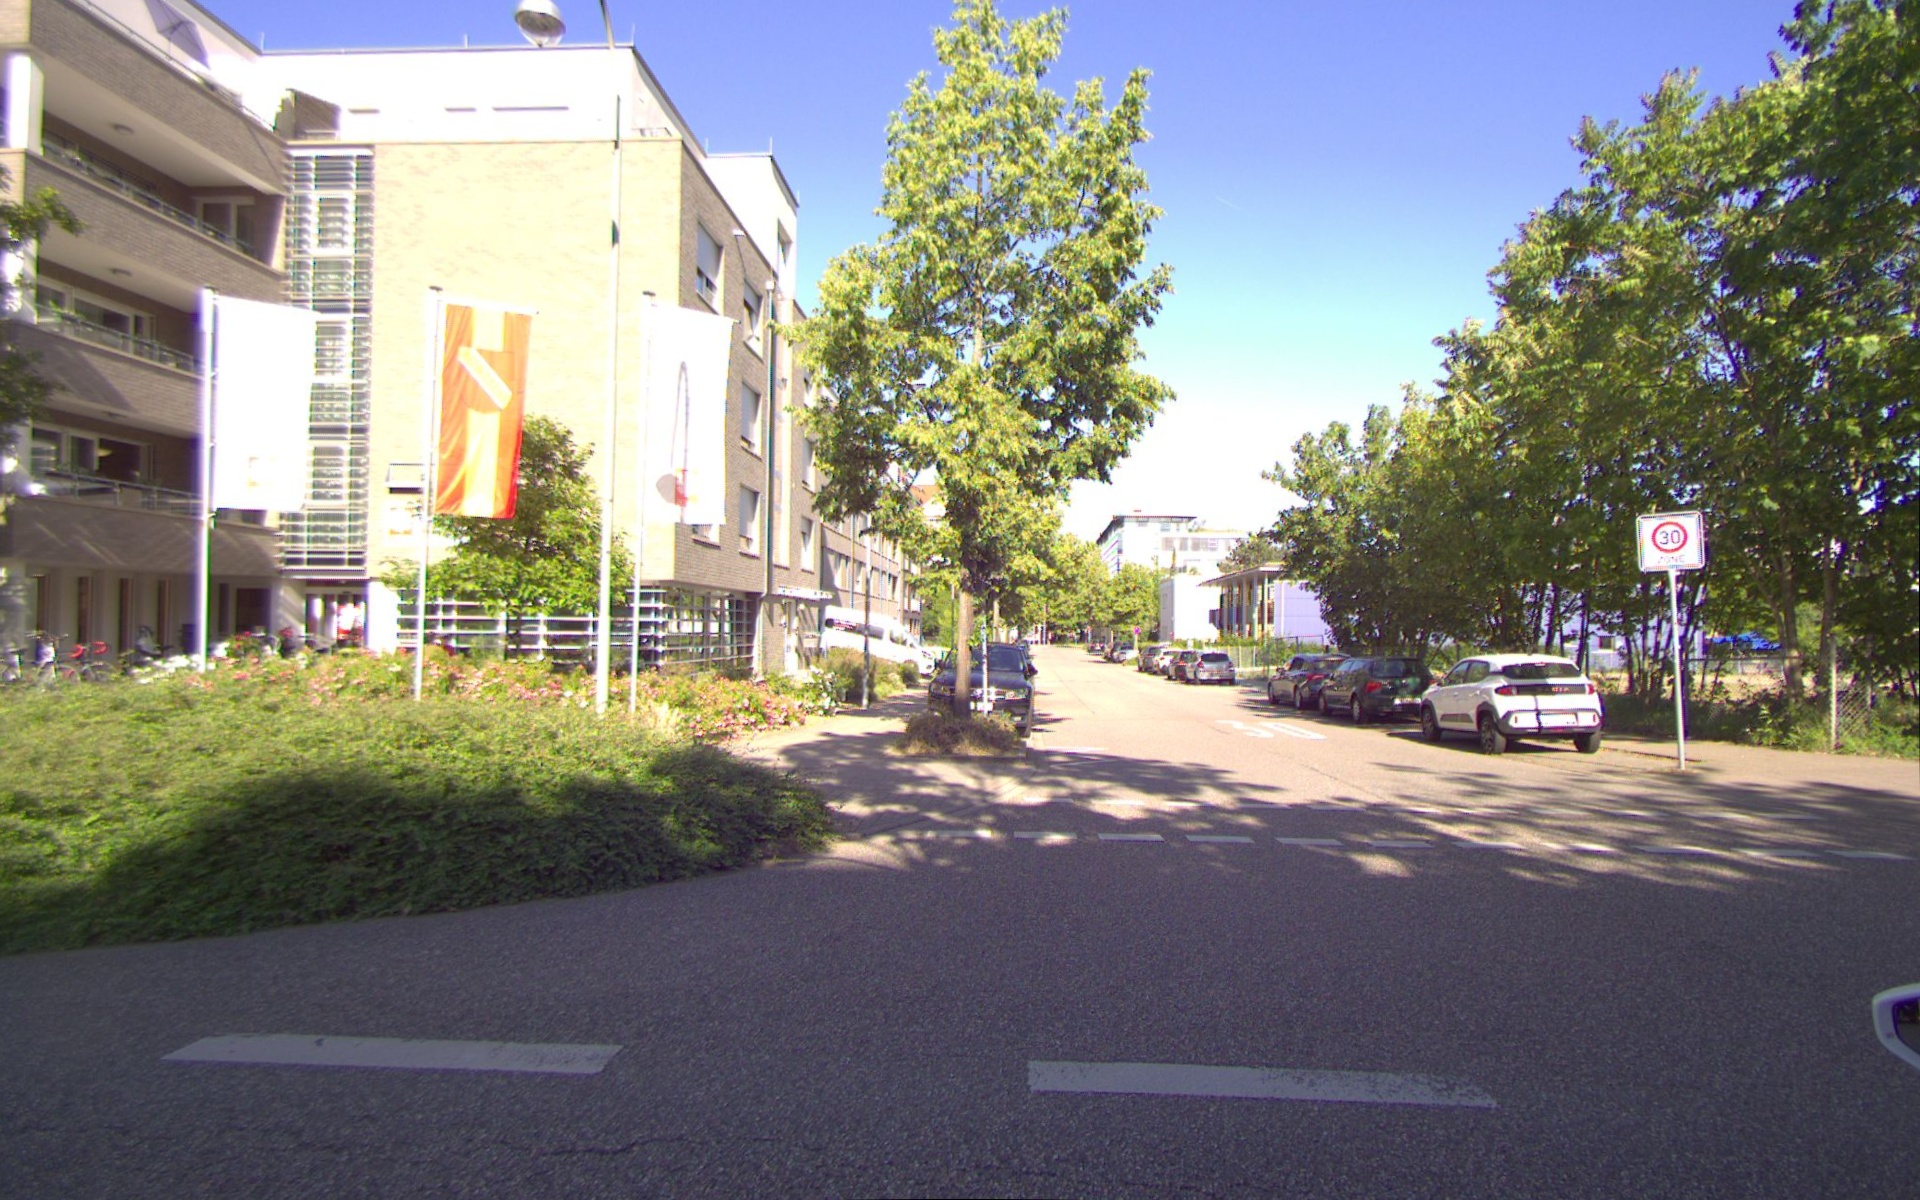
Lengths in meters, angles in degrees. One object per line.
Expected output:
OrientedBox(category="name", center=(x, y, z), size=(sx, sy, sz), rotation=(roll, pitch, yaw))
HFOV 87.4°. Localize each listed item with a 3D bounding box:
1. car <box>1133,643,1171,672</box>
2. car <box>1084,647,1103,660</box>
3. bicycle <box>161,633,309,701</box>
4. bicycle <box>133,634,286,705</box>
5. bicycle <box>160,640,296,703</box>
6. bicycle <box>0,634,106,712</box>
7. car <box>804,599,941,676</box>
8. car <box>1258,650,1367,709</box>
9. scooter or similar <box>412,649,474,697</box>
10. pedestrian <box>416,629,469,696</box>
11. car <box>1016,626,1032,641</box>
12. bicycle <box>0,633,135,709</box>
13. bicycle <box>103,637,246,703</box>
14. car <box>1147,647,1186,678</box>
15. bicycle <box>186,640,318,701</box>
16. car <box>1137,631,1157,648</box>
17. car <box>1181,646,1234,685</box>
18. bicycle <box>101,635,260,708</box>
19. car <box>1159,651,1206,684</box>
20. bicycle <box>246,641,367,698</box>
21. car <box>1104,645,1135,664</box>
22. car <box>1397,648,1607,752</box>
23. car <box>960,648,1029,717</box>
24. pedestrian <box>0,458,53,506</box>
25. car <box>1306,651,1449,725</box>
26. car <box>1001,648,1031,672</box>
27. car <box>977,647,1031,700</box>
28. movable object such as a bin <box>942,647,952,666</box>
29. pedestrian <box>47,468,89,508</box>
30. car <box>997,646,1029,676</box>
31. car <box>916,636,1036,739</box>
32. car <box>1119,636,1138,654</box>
OrientedBox(category="car", center=(11.827, 3.532, 61.960), size=(1.697, 1.674, 4.328), rotation=(-1, -2, 3))
OrientedBox(category="car", center=(15.501, 6.191, 117.009), size=(1.960, 1.505, 4.003), rotation=(0, -3, 4))
OrientedBox(category="bicycle", center=(-11.752, 1.078, 16.305), size=(2.149, 1.061, 0.438), rotation=(1, -1, 4))
OrientedBox(category="bicycle", center=(-11.806, 1.078, 15.811), size=(2.149, 1.061, 0.438), rotation=(1, -1, 4))
OrientedBox(category="bicycle", center=(-12.949, 1.260, 17.789), size=(2.149, 1.061, 0.438), rotation=(1, -1, 4))
OrientedBox(category="bicycle", center=(-13.407, 1.030, 14.323), size=(2.149, 1.061, 0.438), rotation=(1, -1, 4))
OrientedBox(category="car", center=(-3.676, 1.596, 42.770), size=(5.360, 2.412, 1.922), rotation=(9, -2, 1))
OrientedBox(category="car", center=(9.612, 2.137, 27.729), size=(1.648, 1.456, 4.442), rotation=(1, -3, 3))
OrientedBox(category="scooter or similar", center=(-10.984, 1.535, 21.376), size=(0.851, 0.967, 0.806), rotation=(1, -1, 5))
OrientedBox(category="pedestrian", center=(-10.987, 1.324, 21.344), size=(0.730, 1.379, 0.671), rotation=(1, -2, 5))
OrientedBox(category="car", center=(7.050, 3.694, 110.705), size=(1.747, 1.550, 4.002), rotation=(0, -2, 4))
OrientedBox(category="bicycle", center=(-13.379, 1.040, 14.806), size=(2.149, 1.061, 0.438), rotation=(1, -1, 4))
OrientedBox(category="bicycle", center=(-13.275, 1.179, 16.986), size=(2.149, 1.061, 0.438), rotation=(1, -1, 4))
OrientedBox(category="car", center=(11.666, 3.522, 56.910), size=(1.651, 1.562, 3.850), rotation=(1, -1, 4))
OrientedBox(category="bicycle", center=(-12.909, 1.281, 18.325), size=(2.149, 1.061, 0.438), rotation=(1, -1, 4))
OrientedBox(category="car", center=(22.878, 4.867, 123.032), size=(1.960, 2.040, 4.002), rotation=(0, -2, 4))
OrientedBox(category="car", center=(10.851, 2.846, 44.223), size=(1.634, 1.533, 4.002), rotation=(1, -1, 4))
OrientedBox(category="bicycle", center=(-11.853, 1.079, 15.292), size=(2.149, 1.061, 0.438), rotation=(1, -1, 4))
OrientedBox(category="car", center=(10.854, 3.275, 49.223), size=(1.659, 1.514, 4.081), rotation=(1, -3, 3))
OrientedBox(category="bicycle", center=(-12.873, 1.362, 19.810), size=(2.149, 1.061, 0.438), rotation=(1, -1, 4))
OrientedBox(category="car", center=(12.734, 4.370, 80.563), size=(1.799, 1.441, 4.235), rotation=(-2, -3, 1))
OrientedBox(category="car", center=(8.755, 1.584, 16.645), size=(1.592, 1.469, 4.094), rotation=(1, -4, 5))
OrientedBox(category="car", center=(0.817, 1.972, 24.817), size=(1.552, 1.523, 3.792), rotation=(1, -3, 1))
OrientedBox(category="pedestrian", center=(-17.714, -2.239, 19.071), size=(0.356, 0.809, 0.683), rotation=(1, -1, -3))
OrientedBox(category="car", center=(9.332, 1.925, 22.814), size=(1.794, 1.491, 4.071), rotation=(1, -3, 4))
OrientedBox(category="car", center=(3.310, 3.469, 58.633), size=(1.572, 1.233, 3.878), rotation=(3, -2, 5))
OrientedBox(category="car", center=(1.387, 2.369, 33.105), size=(1.631, 1.552, 4.288), rotation=(0, -2, 0))
OrientedBox(category="movable object such as a bin", center=(-0.781, 3.421, 60.900), size=(0.597, 1.105, 0.637), rotation=(1, -1, 2))
OrientedBox(category="pedestrian", center=(-17.245, -2.161, 19.426), size=(0.419, 0.695, 0.416), rotation=(1, -1, -5))
OrientedBox(category="car", center=(2.788, 3.187, 53.072), size=(1.584, 1.484, 3.876), rotation=(0, -2, 3))
OrientedBox(category="car", center=(0.423, 1.553, 18.557), size=(1.855, 1.640, 4.342), rotation=(1, -3, 5))
OrientedBox(category="car", center=(20.654, 5.521, 123.245), size=(1.989, 2.040, 4.003), rotation=(0, -3, 4))
